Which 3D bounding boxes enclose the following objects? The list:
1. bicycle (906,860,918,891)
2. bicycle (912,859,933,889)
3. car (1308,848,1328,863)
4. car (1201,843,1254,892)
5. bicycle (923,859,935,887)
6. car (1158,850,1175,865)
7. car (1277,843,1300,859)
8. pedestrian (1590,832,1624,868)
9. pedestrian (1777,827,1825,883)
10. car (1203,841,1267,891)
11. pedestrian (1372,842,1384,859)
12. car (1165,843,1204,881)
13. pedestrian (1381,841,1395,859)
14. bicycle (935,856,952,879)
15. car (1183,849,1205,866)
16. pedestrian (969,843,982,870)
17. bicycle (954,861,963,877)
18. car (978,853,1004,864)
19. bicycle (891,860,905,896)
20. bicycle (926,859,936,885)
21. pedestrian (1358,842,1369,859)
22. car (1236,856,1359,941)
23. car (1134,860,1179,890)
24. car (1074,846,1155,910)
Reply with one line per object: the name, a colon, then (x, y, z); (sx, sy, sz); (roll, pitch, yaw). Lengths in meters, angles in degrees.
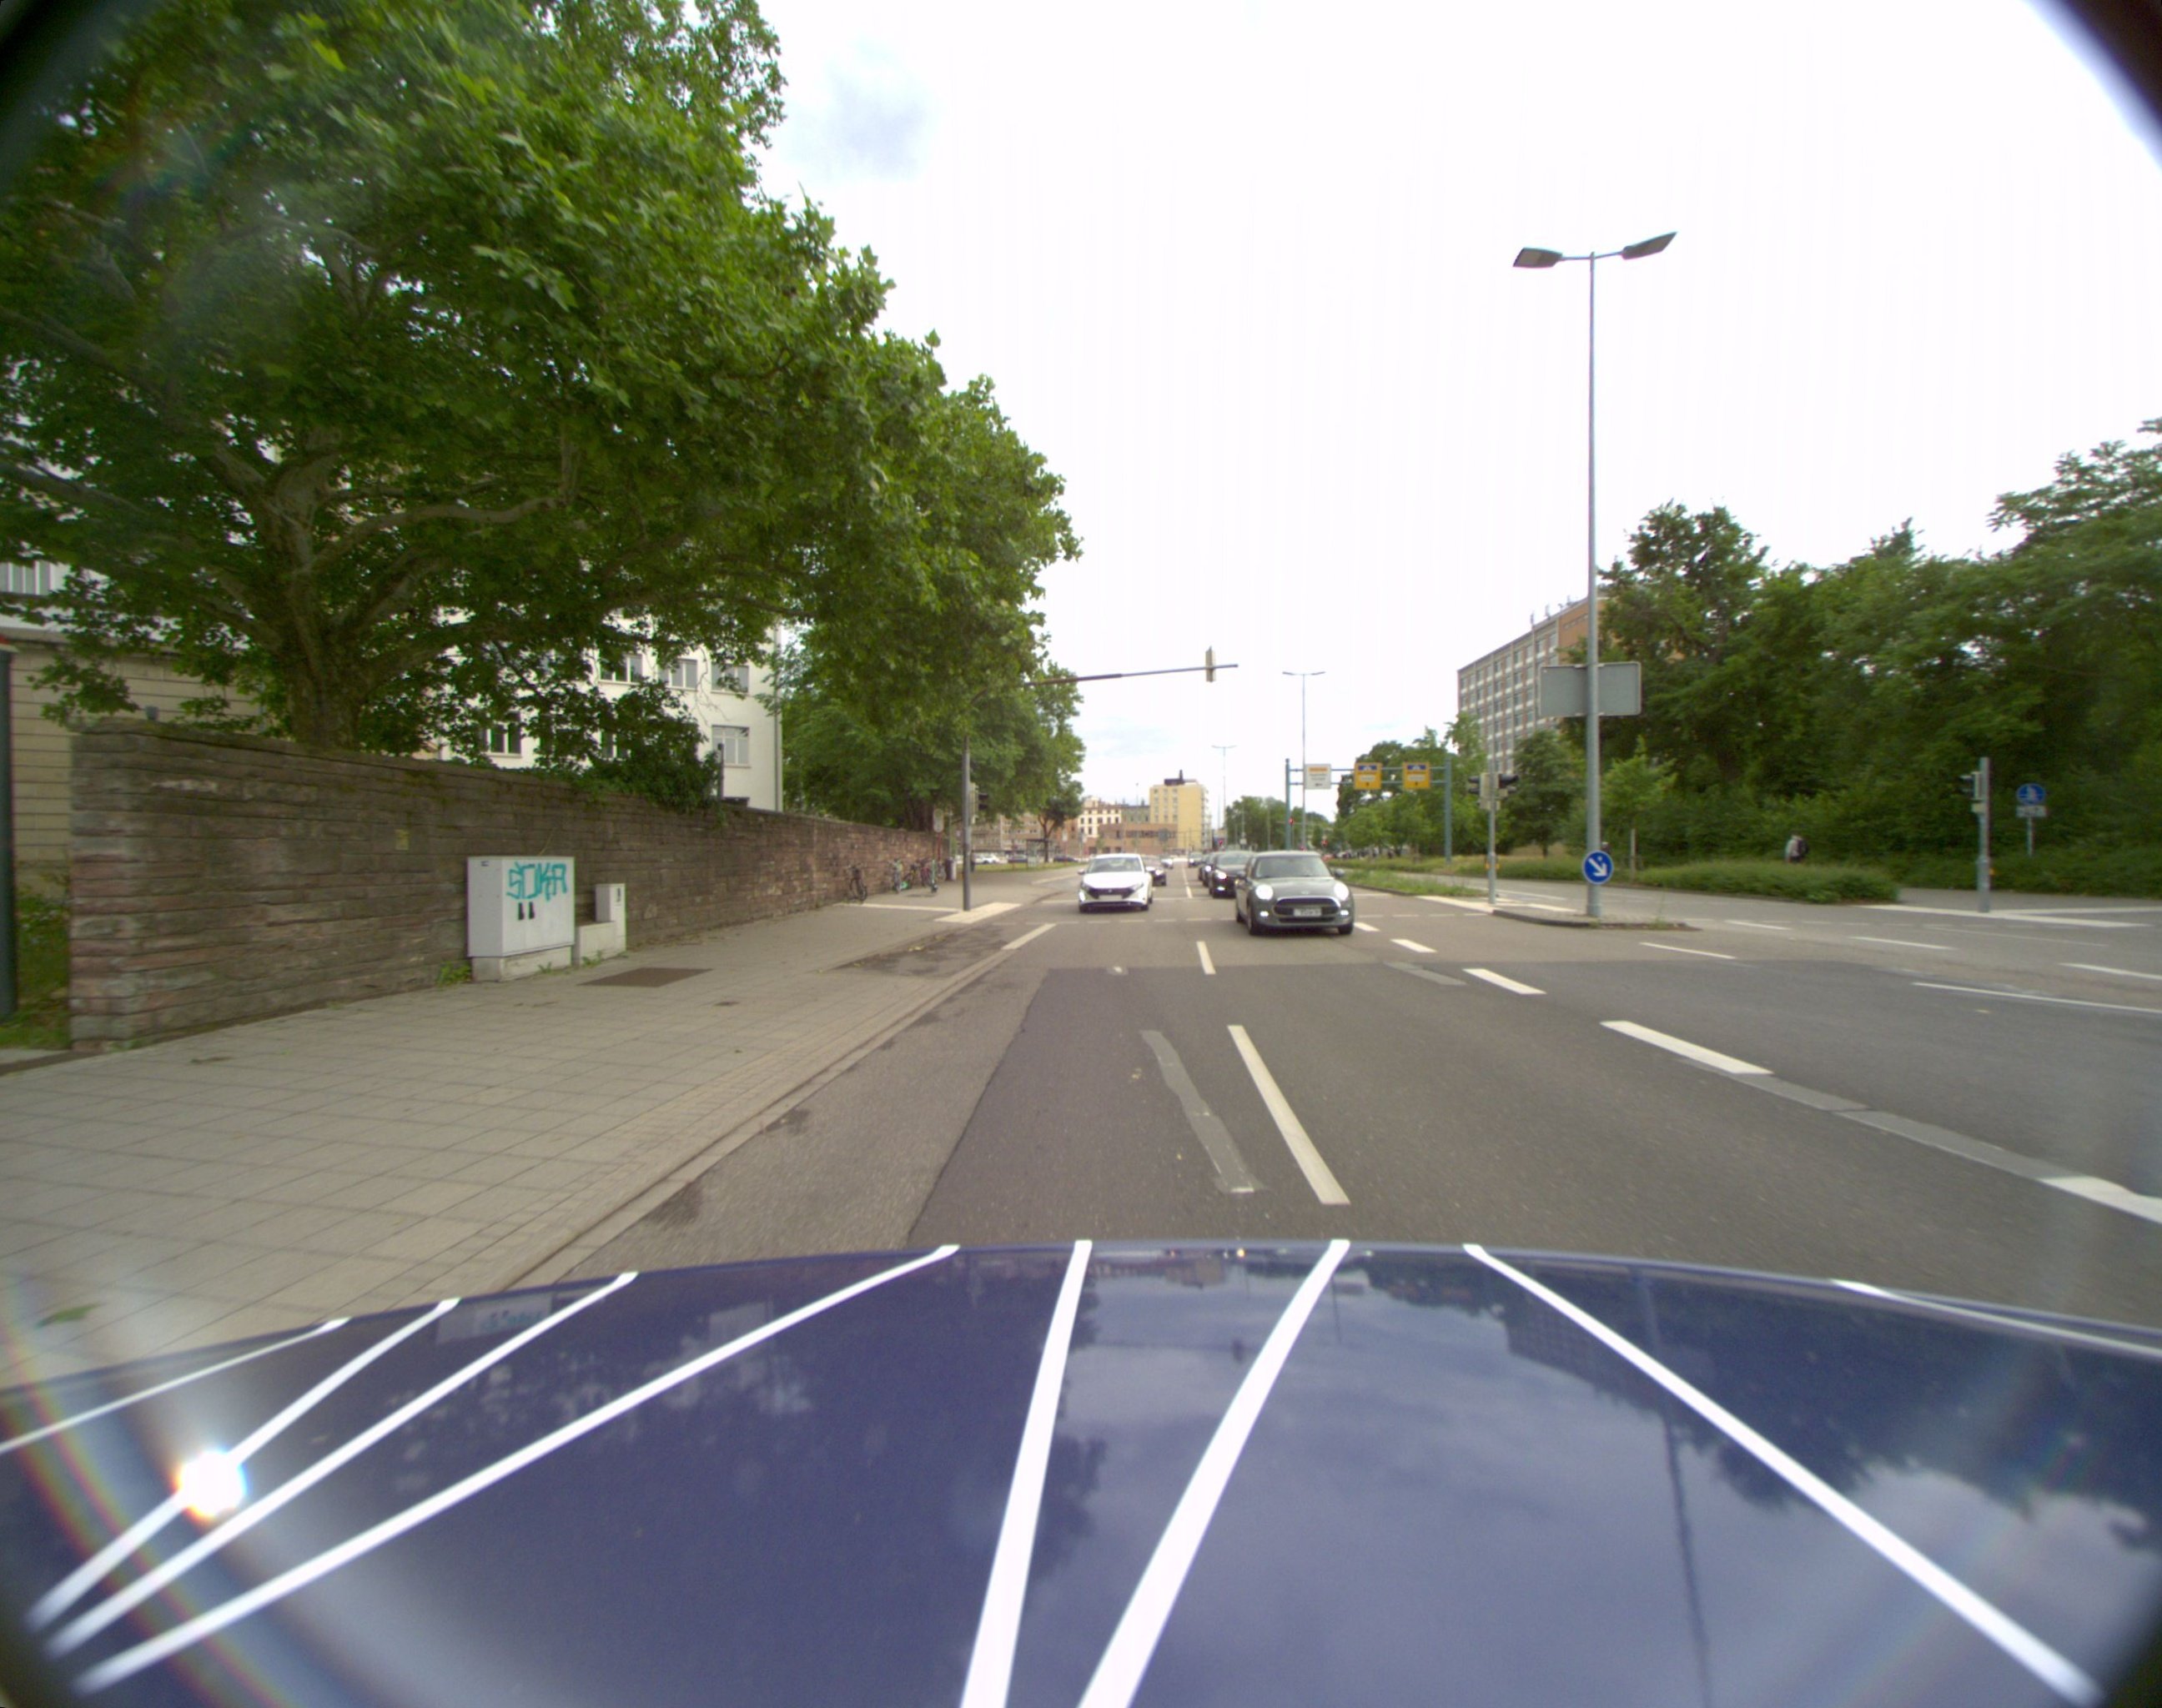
bicycle: (-6.448, 0.798, 29.002); (0.386, 1.137, 1.939); (-2, 0, -13)
bicycle: (-6.371, 0.790, 30.502); (0.386, 1.137, 1.938); (-3, 0, -23)
car: (27.232, 0.163, 87.423); (1.853, 1.543, 4.004); (-1, 0, 14)
car: (6.298, 0.522, 33.090); (1.997, 2.002, 4.002); (0, 0, 7)
bicycle: (-6.414, 0.786, 32.132); (0.339, 1.137, 1.940); (-2, 0, -8)
car: (8.285, 0.334, 73.697); (1.605, 1.360, 3.580); (-1, 0, 6)
car: (24.204, -0.346, 88.739); (1.892, 1.763, 4.001); (-2, 1, 6)
pedestrian: (24.485, -0.187, 35.379); (0.990, 1.616, 0.813); (-2, 1, 5)
pedestrian: (26.540, 0.035, 28.025); (0.908, 2.002, 0.823); (-3, 0, 11)
car: (4.824, 0.334, 24.253); (1.731, 1.450, 4.002); (0, 0, 7)
pedestrian: (35.040, -0.393, 89.715); (0.881, 2.002, 1.221); (-2, 1, -1)
car: (5.683, 0.397, 41.897); (1.997, 2.002, 4.002); (0, 0, 7)
pedestrian: (34.276, -0.430, 84.770); (1.136, 1.908, 1.163); (-2, 1, 10)
bicycle: (-6.736, 0.640, 37.314); (0.478, 1.070, 2.083); (0, 0, 0)
car: (11.416, 0.324, 77.106); (1.998, 1.536, 4.001); (-3, 0, 6)
pedestrian: (-7.938, 0.201, 57.203); (0.784, 2.001, 0.888); (1, -1, -16)
bicycle: (-7.825, 0.952, 48.590); (0.365, 0.934, 1.638); (0, 1, -15)
car: (-14.902, 0.675, 125.587); (3.996, 1.760, 2.000); (0, 1, 1)
bicycle: (-6.214, 0.799, 25.834); (0.386, 1.137, 1.939); (-2, 0, -13)
bicycle: (-6.709, 0.791, 33.974); (0.339, 1.137, 1.676); (-2, 0, -8)
pedestrian: (34.033, -0.474, 91.537); (0.881, 2.002, 1.221); (-2, 1, -1)
car: (3.785, 0.704, 13.845); (1.624, 1.310, 3.707); (0, 0, 7)
car: (3.371, 0.913, 33.628); (1.702, 1.181, 2.832); (-2, 0, 11)
car: (0.996, 0.564, 20.201); (1.812, 1.533, 4.002); (0, 0, 7)
